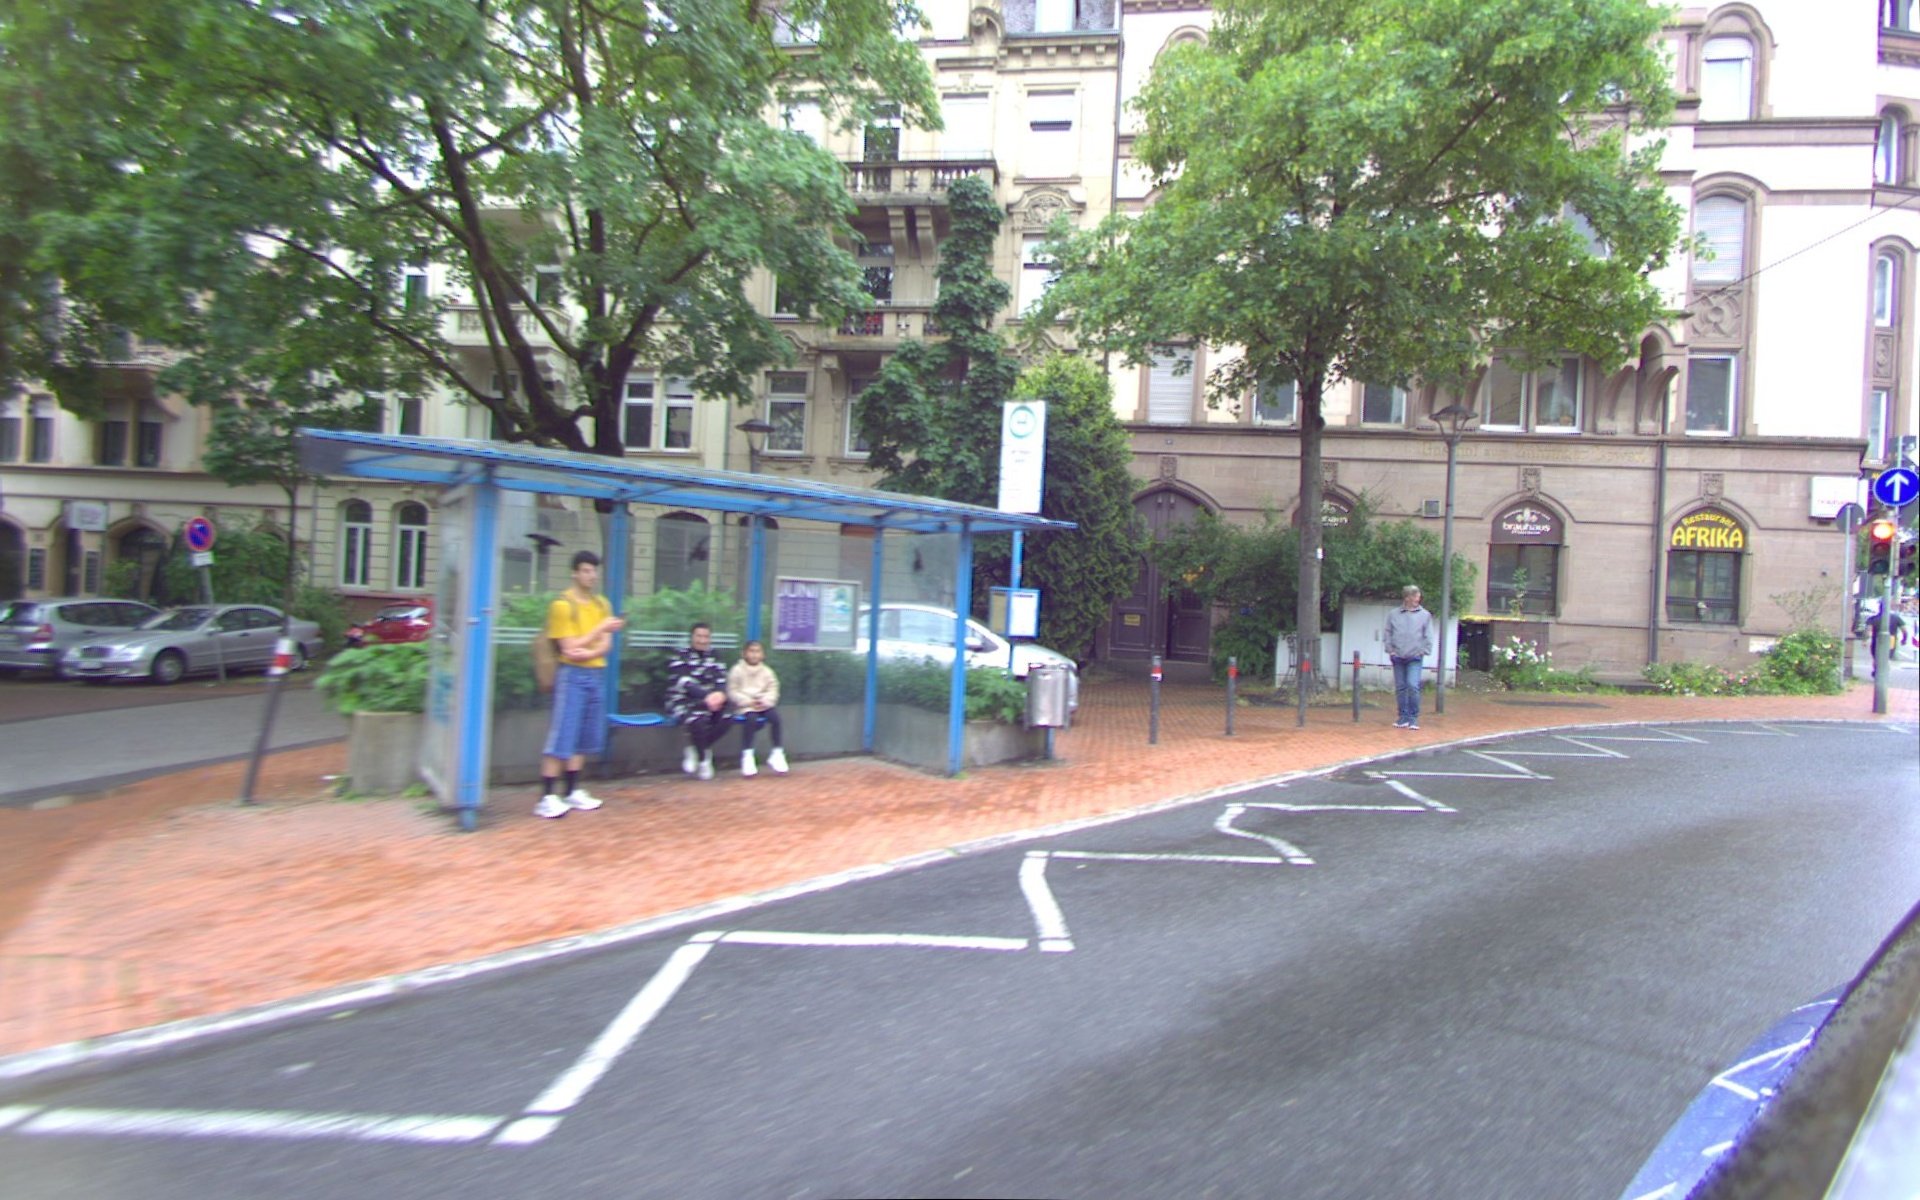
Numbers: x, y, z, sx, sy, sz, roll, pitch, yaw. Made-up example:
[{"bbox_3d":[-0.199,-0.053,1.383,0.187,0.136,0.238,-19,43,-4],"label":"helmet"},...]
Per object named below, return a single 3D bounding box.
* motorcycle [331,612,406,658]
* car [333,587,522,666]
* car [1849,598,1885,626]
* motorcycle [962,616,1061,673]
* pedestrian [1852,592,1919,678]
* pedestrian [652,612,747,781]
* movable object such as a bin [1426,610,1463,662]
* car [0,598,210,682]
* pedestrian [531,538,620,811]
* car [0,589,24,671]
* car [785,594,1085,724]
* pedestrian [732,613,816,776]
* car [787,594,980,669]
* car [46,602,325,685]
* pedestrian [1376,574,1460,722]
[{"bbox_3d":[-14.125,0.812,24.228,0.442,0.933,1.620,0,4,19],"label":"motorcycle"},{"bbox_3d":[-12.073,0.530,23.272,1.845,1.546,3.991,0,2,9],"label":"car"},{"bbox_3d":[60.494,0.769,67.547,1.521,1.637,3.444,6,6,39],"label":"car"},{"bbox_3d":[1.146,0.969,22.428,2.153,1.204,0.555,0,-1,-19],"label":"motorcycle"},{"bbox_3d":[19.071,0.698,20.702,0.816,1.699,0.893,2,1,6],"label":"pedestrian"},{"bbox_3d":[-2.109,0.745,8.190,0.606,1.296,0.571,1,-1,-31],"label":"pedestrian"},{"bbox_3d":[10.298,0.760,21.526,0.549,1.079,0.541,0,-1,7],"label":"movable object such as a bin"},{"bbox_3d":[-16.920,0.726,19.814,1.564,1.484,3.491,0,-1,9],"label":"car"},{"bbox_3d":[-2.649,0.490,7.016,0.534,1.798,0.561,0,-1,-18],"label":"pedestrian"},{"bbox_3d":[-21.024,0.611,19.761,1.653,1.688,3.770,0,-1,12],"label":"car"},{"bbox_3d":[-0.240,0.750,13.033,3.613,1.522,1.766,-1,-2,8],"label":"car"},{"bbox_3d":[-1.560,0.761,8.477,0.524,1.296,0.571,1,-1,-31],"label":"pedestrian"},{"bbox_3d":[-1.653,0.641,21.548,3.769,1.495,1.775,0,-1,-20],"label":"car"},{"bbox_3d":[-14.686,0.764,19.557,1.680,1.414,4.322,0,-1,9],"label":"car"},{"bbox_3d":[5.602,0.570,12.402,0.716,1.756,0.574,0,-1,-15],"label":"pedestrian"}]
